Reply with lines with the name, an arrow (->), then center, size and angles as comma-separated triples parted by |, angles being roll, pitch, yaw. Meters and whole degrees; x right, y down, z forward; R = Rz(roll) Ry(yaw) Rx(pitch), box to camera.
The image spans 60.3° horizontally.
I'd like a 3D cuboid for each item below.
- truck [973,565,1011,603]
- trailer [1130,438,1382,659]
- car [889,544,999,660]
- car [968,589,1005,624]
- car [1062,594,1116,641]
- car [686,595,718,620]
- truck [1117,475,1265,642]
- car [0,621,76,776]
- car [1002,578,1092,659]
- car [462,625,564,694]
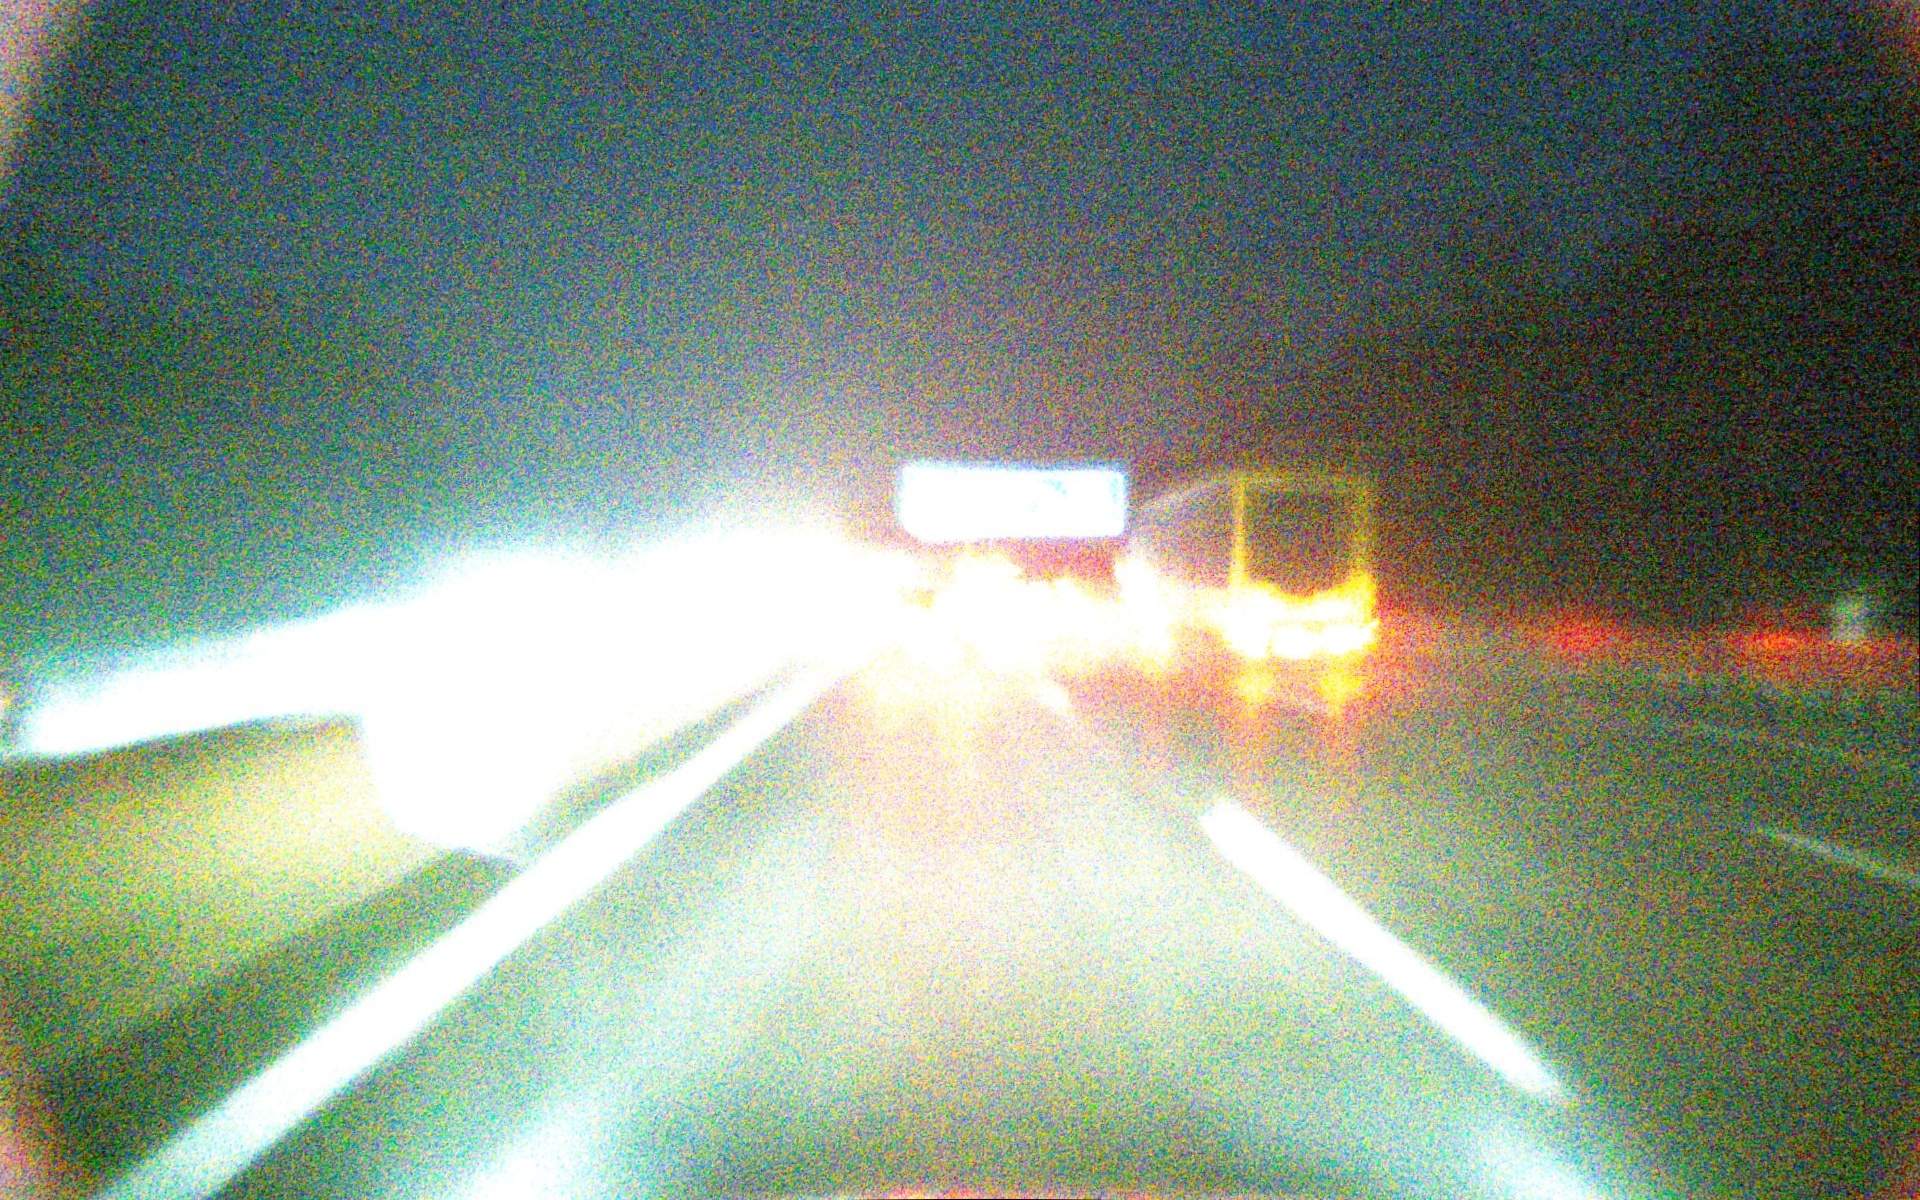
truck -> 2.946, -1.509, 155.758 | 2.976, 3.355, 11.377 | -2, 0, -2
trailer -> 6.447, -1.041, 38.932 | 2.980, 4.180, 13.824 | -2, 0, -2
car -> -0.342, 0.032, 31.854 | 1.953, 2.049, 3.999 | 1, 0, -2
car -> 1.620, 0.391, 101.688 | 1.954, 2.049, 3.997 | -2, 0, -3
car -> 6.054, 0.799, 77.912 | 1.954, 2.049, 3.997 | -2, 0, -3
car -> -19.718, 0.567, 126.521 | 1.954, 1.791, 4.956 | -2, 0, -3
truck -> 6.219, -1.084, 45.381 | 2.980, 4.180, 5.796 | -2, 0, -2
car -> -12.609, 1.232, 19.901 | 1.954, 1.791, 3.998 | 1, 1, -3
car -> 2.295, 0.467, 44.747 | 1.954, 2.049, 3.997 | -2, 0, -3
car -> -13.807, 1.810, 51.405 | 1.953, 1.791, 4.958 | 1, 2, -2
